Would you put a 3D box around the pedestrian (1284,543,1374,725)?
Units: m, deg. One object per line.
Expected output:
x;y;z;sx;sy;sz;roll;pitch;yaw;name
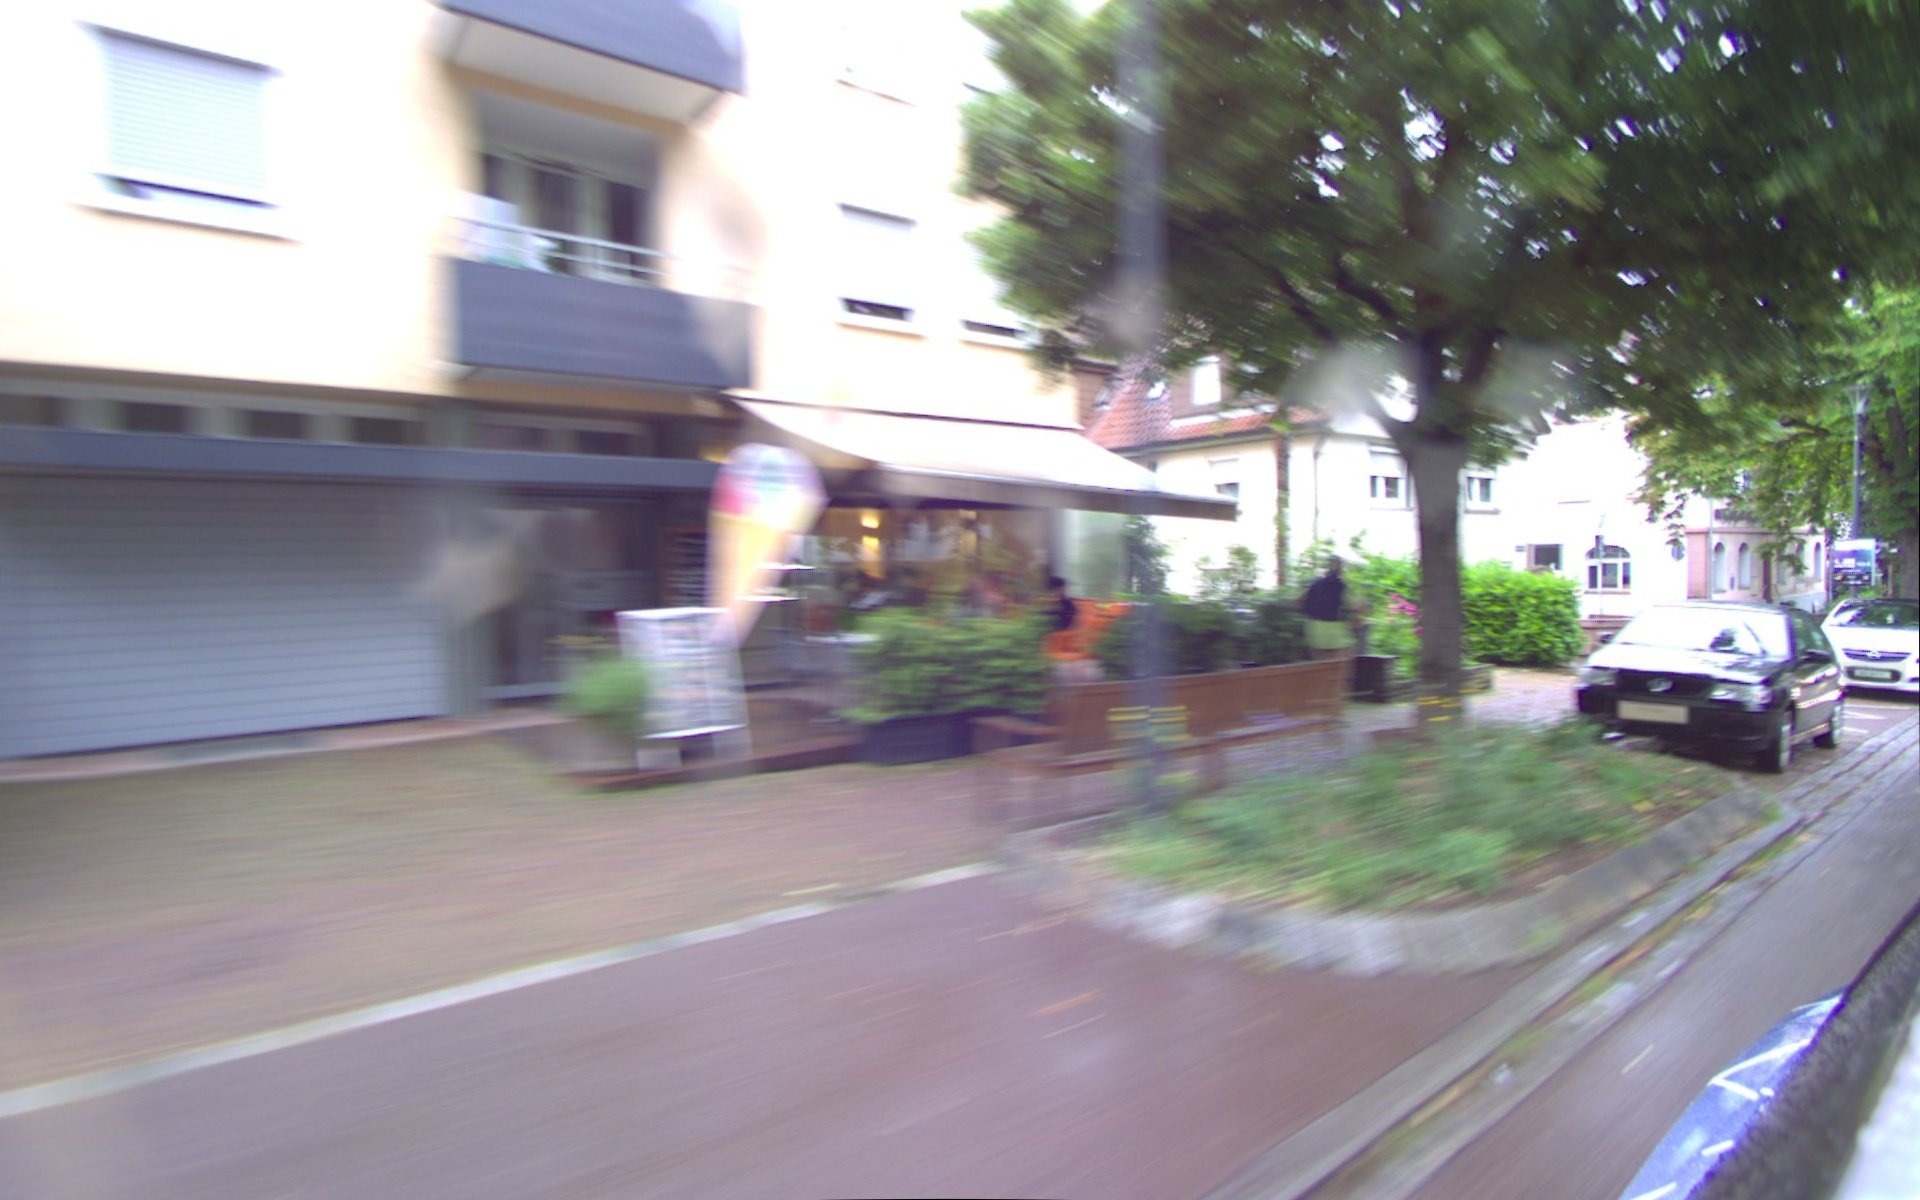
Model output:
3.704;0.315;10.157;0.762;1.753;0.487;1;0;31;pedestrian

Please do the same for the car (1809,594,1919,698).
14.555;0.636;15.619;3.729;1.417;1.683;0;2;-42;car

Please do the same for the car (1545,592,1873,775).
7.366;0.644;9.832;3.717;1.429;1.811;0;0;-41;car
